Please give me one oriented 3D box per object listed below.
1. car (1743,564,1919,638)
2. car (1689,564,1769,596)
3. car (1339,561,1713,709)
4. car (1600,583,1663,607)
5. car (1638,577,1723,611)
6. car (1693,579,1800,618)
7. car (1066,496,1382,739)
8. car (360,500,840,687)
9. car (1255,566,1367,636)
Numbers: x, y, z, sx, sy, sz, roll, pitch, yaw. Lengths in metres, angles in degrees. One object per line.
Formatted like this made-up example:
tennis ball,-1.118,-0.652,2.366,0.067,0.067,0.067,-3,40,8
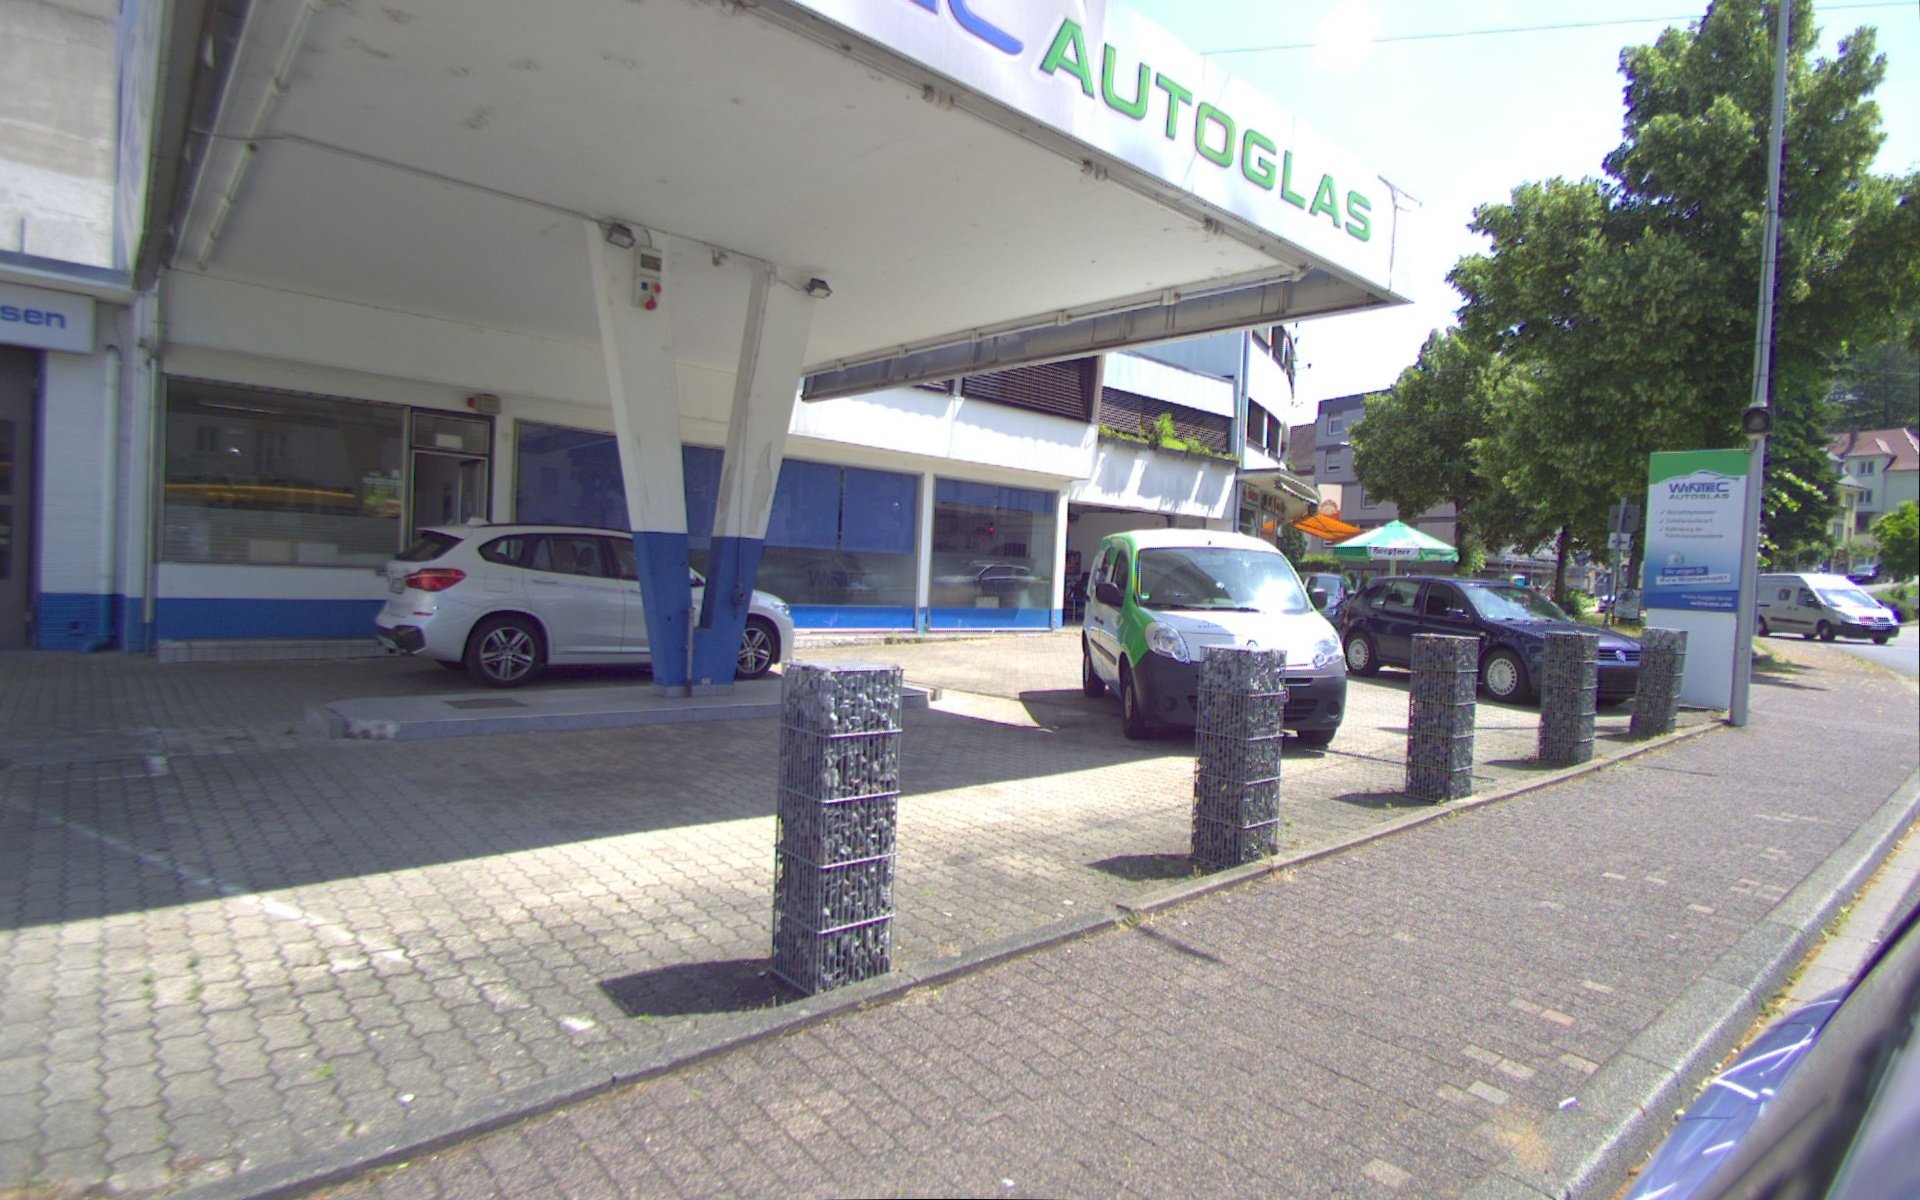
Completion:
car,28.994,-0.026,33.891,1.967,2.299,5.431,0,1,9
car,51.382,-1.352,67.599,5.273,2.039,2.405,-1,1,-30
car,6.765,0.313,12.655,1.664,1.446,3.984,2,3,-17
car,40.759,-0.324,61.411,4.073,1.386,1.534,-1,1,-30
car,45.769,-0.414,64.255,5.273,2.039,2.405,-1,1,-30
car,43.057,-0.149,55.366,6.246,2.039,2.405,-1,1,-30
car,2.199,0.085,9.718,1.788,1.812,4.292,0,1,-2
car,-3.755,-0.087,11.087,4.622,1.646,1.750,0,2,-40
car,8.129,-0.038,23.206,1.699,1.417,4.239,2,2,30
